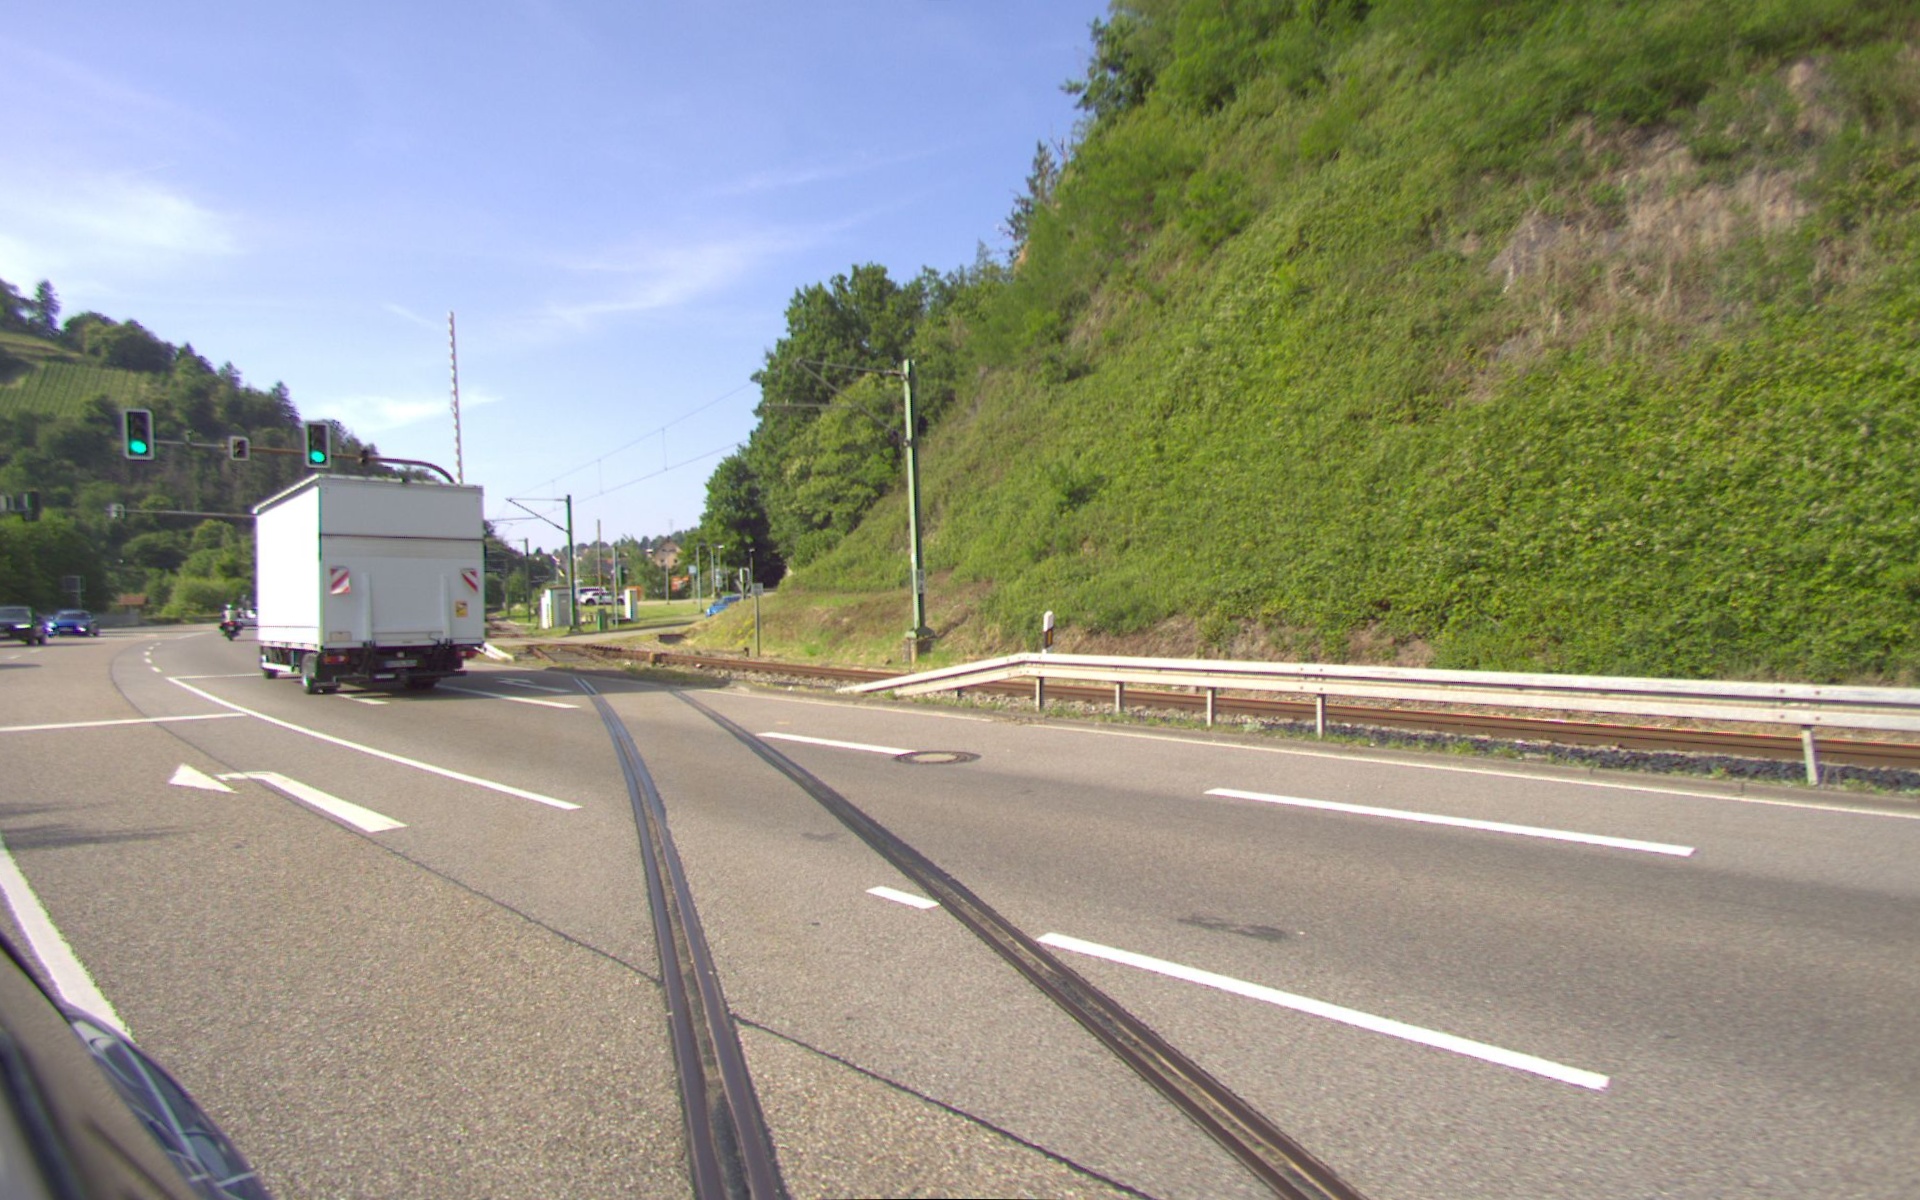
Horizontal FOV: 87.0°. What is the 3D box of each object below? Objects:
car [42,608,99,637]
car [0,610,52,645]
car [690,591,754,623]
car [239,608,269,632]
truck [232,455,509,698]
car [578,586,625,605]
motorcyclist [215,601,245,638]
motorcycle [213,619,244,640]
[{"bbox_3d":[-48.855,1.230,55.665,1.838,1.503,4.011,0,0,-34],"label":"car"},{"bbox_3d":[-39.636,1.113,42.294,1.967,1.403,4.010,0,0,-34],"label":"car"},{"bbox_3d":[-13.704,0.390,58.543,1.877,1.519,3.981,-1,4,16],"label":"car"},{"bbox_3d":[-52.016,1.508,74.599,1.669,1.669,4.183,-1,-1,-33],"label":"car"},{"bbox_3d":[-12.081,-0.326,20.211,2.863,3.827,8.902,0,-1,-43],"label":"truck"},{"bbox_3d":[-33.020,-0.431,93.231,3.930,1.763,1.646,0,0,-23],"label":"car"},{"bbox_3d":[-34.453,0.905,47.778,0.992,1.728,0.868,0,-1,-25],"label":"motorcyclist"},{"bbox_3d":[-34.540,1.389,47.818,0.812,0.961,2.225,0,0,-25],"label":"motorcycle"}]
